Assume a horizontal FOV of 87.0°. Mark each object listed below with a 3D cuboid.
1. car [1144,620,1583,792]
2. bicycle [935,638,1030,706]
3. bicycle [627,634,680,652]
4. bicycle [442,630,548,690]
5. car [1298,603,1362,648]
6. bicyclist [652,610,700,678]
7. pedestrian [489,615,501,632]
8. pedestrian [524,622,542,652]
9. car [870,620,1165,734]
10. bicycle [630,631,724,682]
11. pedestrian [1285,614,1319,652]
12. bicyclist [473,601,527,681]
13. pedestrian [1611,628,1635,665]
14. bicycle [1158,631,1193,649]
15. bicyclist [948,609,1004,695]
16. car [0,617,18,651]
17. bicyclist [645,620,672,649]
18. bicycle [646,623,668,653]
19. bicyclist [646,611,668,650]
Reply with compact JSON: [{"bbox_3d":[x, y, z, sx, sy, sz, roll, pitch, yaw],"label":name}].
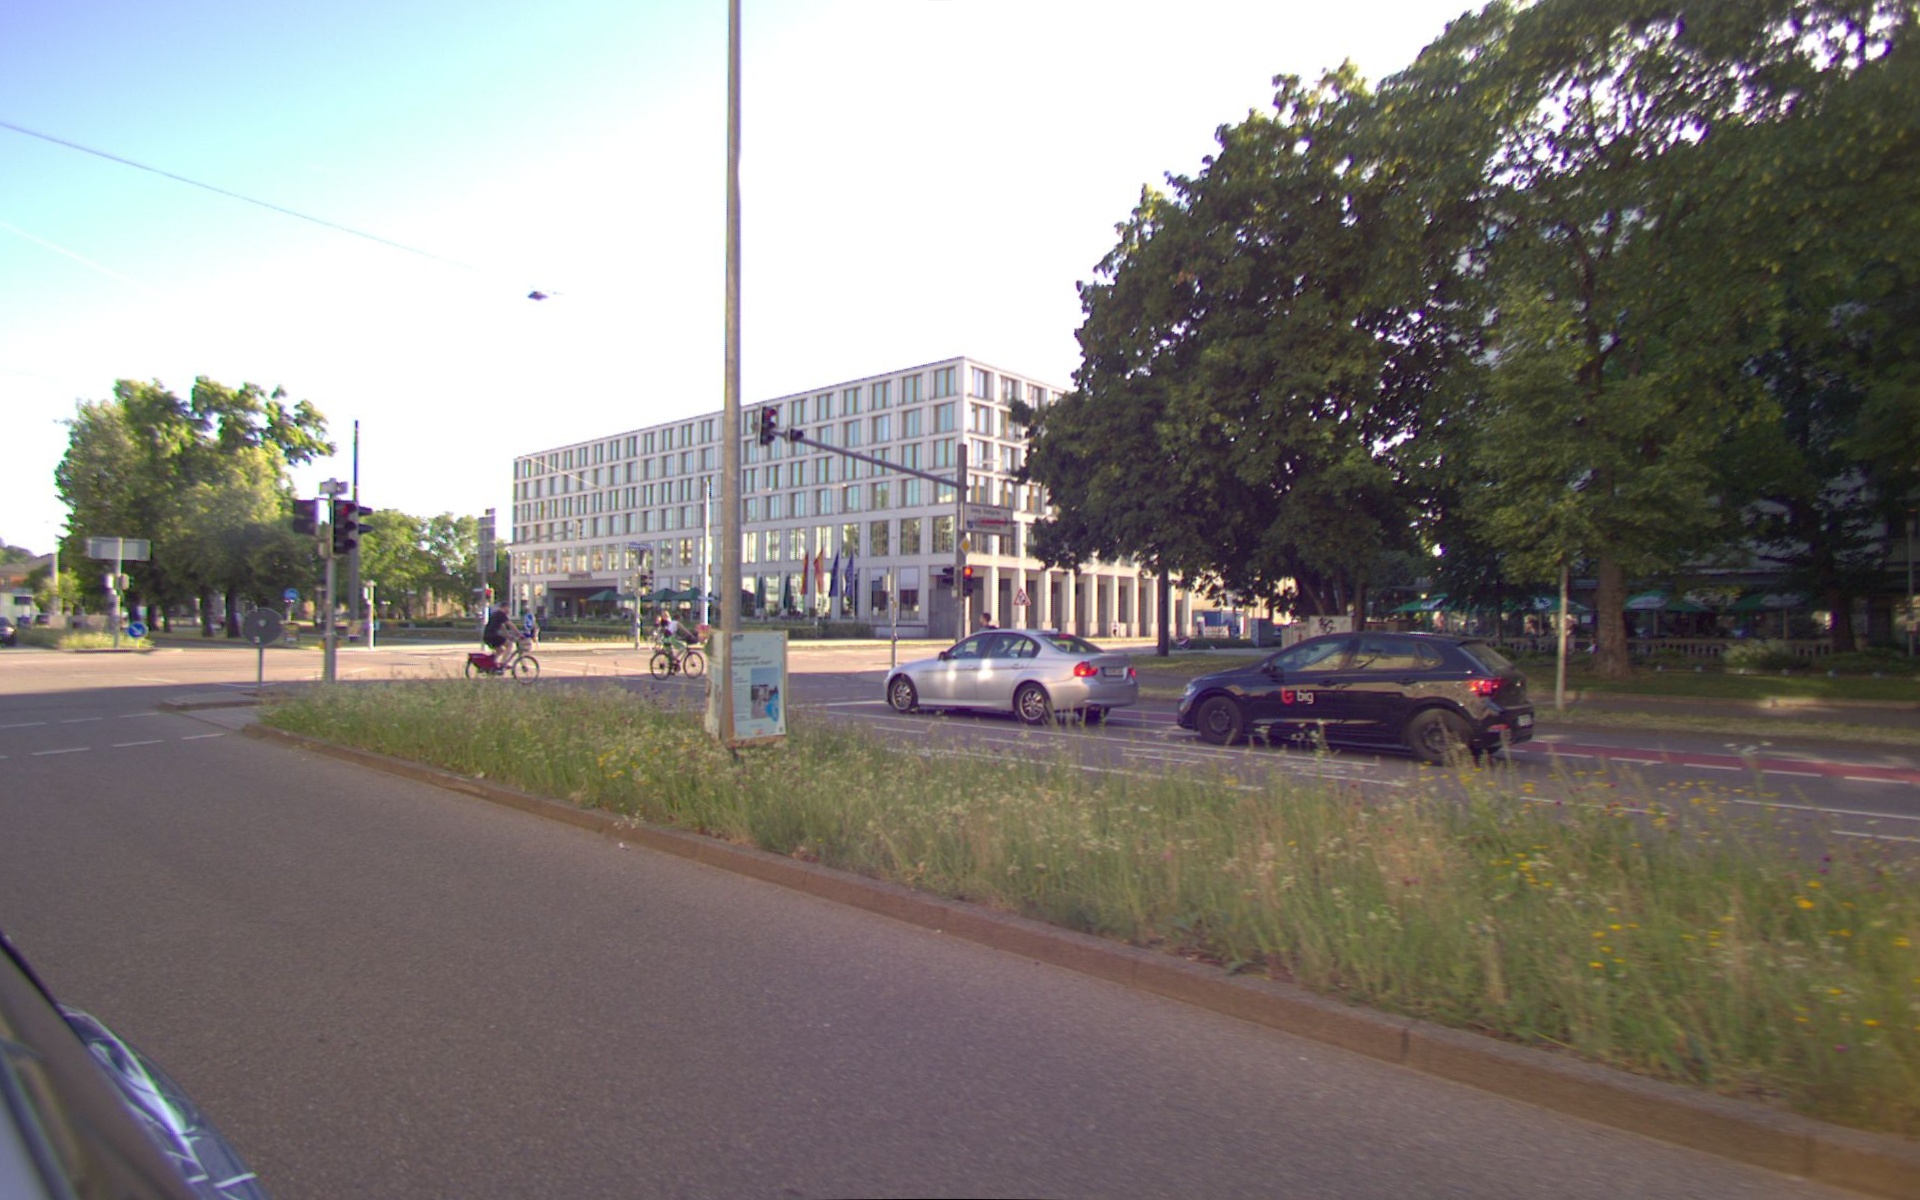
[{"bbox_3d":[4.708,1.096,12.252,4.549,1.688,1.972,-1,-2,43],"label":"car"},{"bbox_3d":[0.418,1.406,20.310,0.765,1.249,2.255,2,-2,-33],"label":"bicycle"},{"bbox_3d":[-14.654,2.041,48.365,0.844,0.858,2.301,-1,-2,45],"label":"bicycle"},{"bbox_3d":[-10.365,1.316,22.611,0.778,1.249,1.993,1,-1,42],"label":"bicycle"},{"bbox_3d":[25.221,1.721,68.829,2.598,2.975,5.021,-1,-2,39],"label":"car"},{"bbox_3d":[-7.402,1.130,26.379,0.775,1.703,0.912,1,-1,42],"label":"bicyclist"},{"bbox_3d":[-42.544,2.115,92.621,0.762,1.537,0.774,-1,-2,43],"label":"pedestrian"},{"bbox_3d":[-22.185,1.902,52.609,0.602,1.537,0.616,-1,-2,38],"label":"pedestrian"},{"bbox_3d":[0.806,1.117,16.309,4.549,1.572,1.972,-1,-2,43],"label":"car"},{"bbox_3d":[-7.360,1.449,26.425,0.778,1.249,2.280,1,0,42],"label":"bicycle"},{"bbox_3d":[15.788,1.516,46.767,0.879,1.754,1.218,1,-2,-32],"label":"pedestrian"},{"bbox_3d":[-10.310,0.908,22.687,0.754,1.756,0.827,1,-1,42],"label":"bicyclist"},{"bbox_3d":[24.135,1.679,36.843,0.723,1.350,0.600,2,-2,-45],"label":"pedestrian"},{"bbox_3d":[11.087,2.046,52.058,1.602,0.896,0.761,-1,-2,34],"label":"bicycle"},{"bbox_3d":[0.327,1.034,20.469,0.770,1.692,0.841,2,-3,-33],"label":"bicyclist"},{"bbox_3d":[-46.790,1.625,48.555,4.549,1.585,1.972,-1,-2,43],"label":"car"},{"bbox_3d":[-14.462,1.649,48.584,0.827,1.372,0.959,-1,-2,44],"label":"bicyclist"},{"bbox_3d":[-12.879,1.601,42.968,0.832,1.240,2.020,1,-2,-19],"label":"bicycle"},{"bbox_3d":[-12.867,1.310,42.935,0.838,1.631,0.976,1,-2,-18],"label":"bicyclist"}]
